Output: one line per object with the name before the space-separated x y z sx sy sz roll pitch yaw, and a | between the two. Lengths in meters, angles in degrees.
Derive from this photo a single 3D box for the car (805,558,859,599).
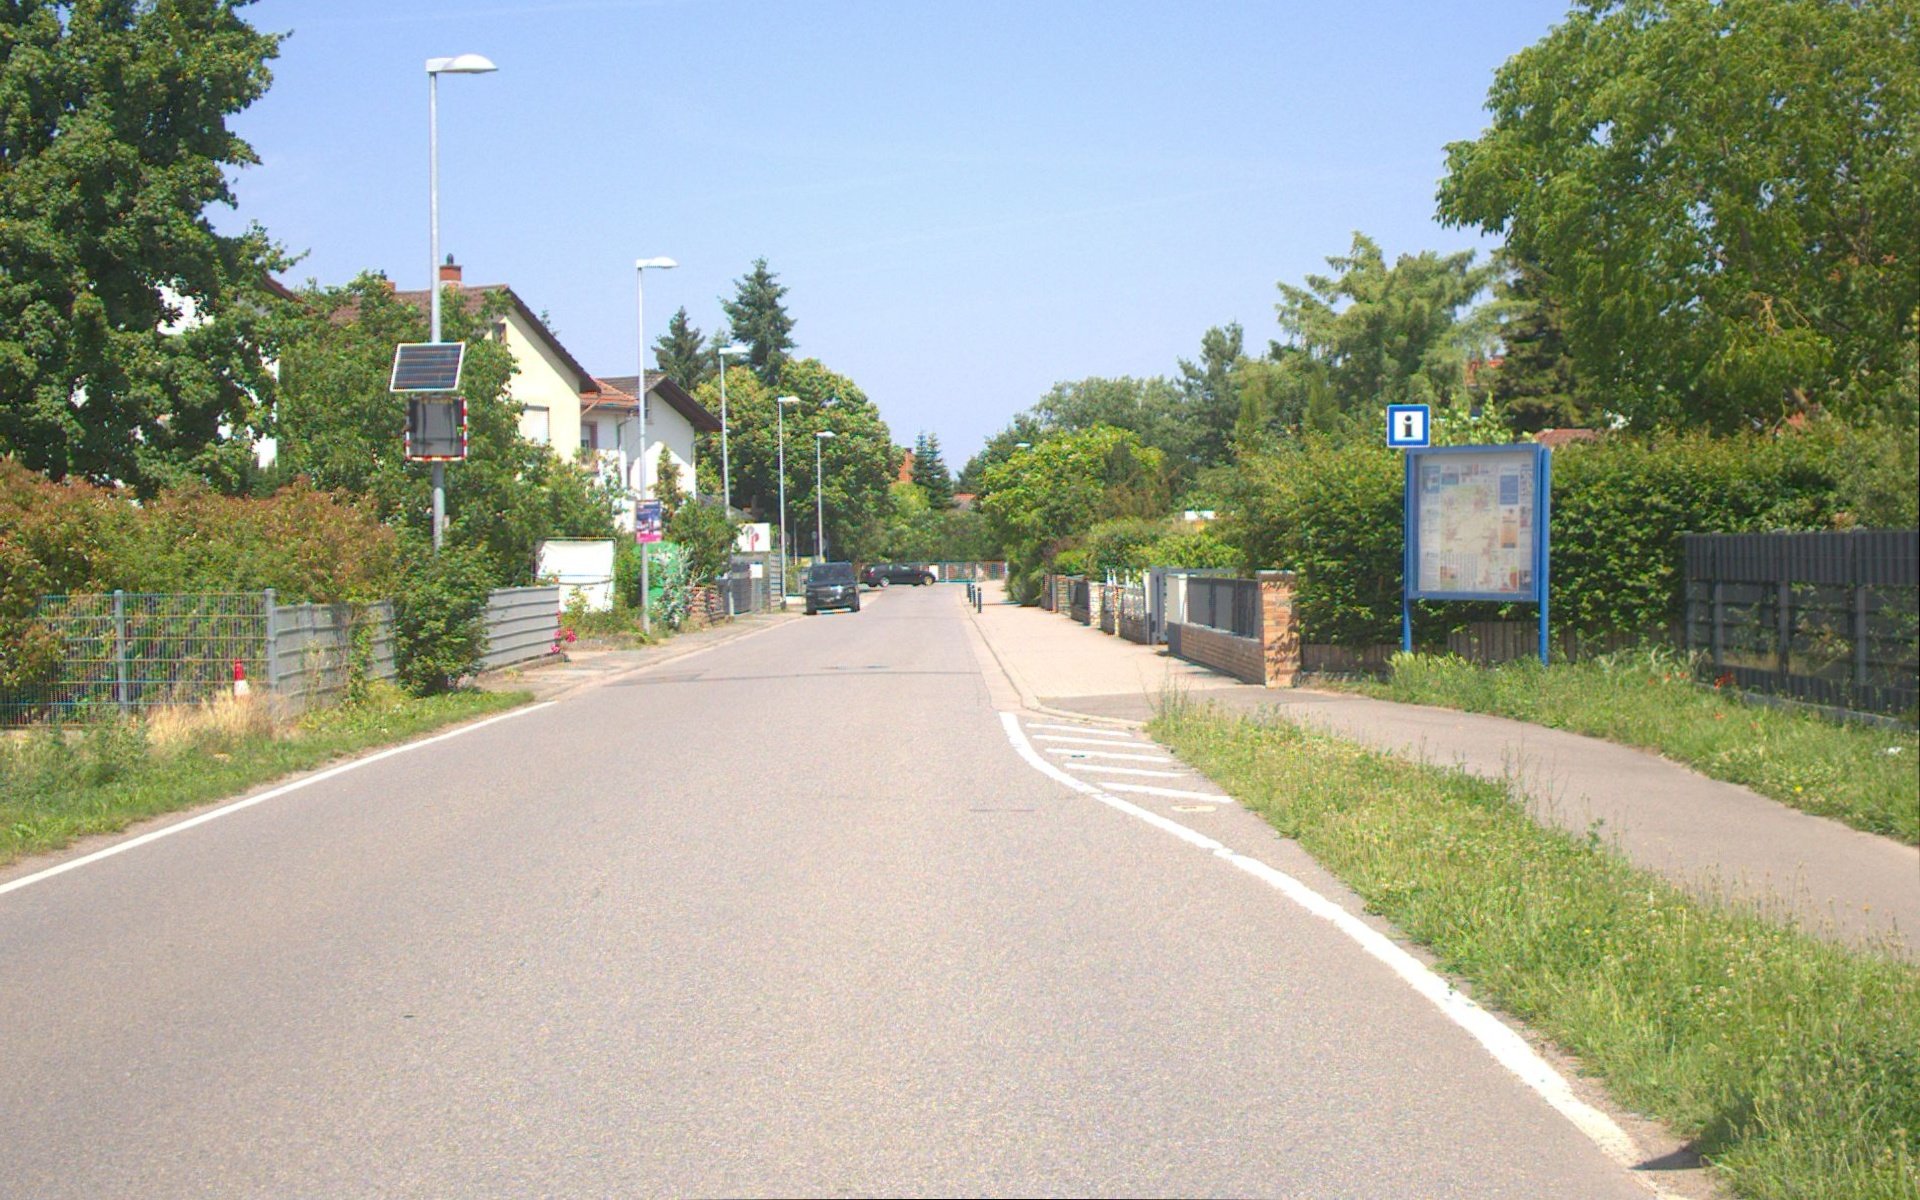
car | -4.494 -0.769 121.222 1.759 1.380 3.453 -2 1 -1
